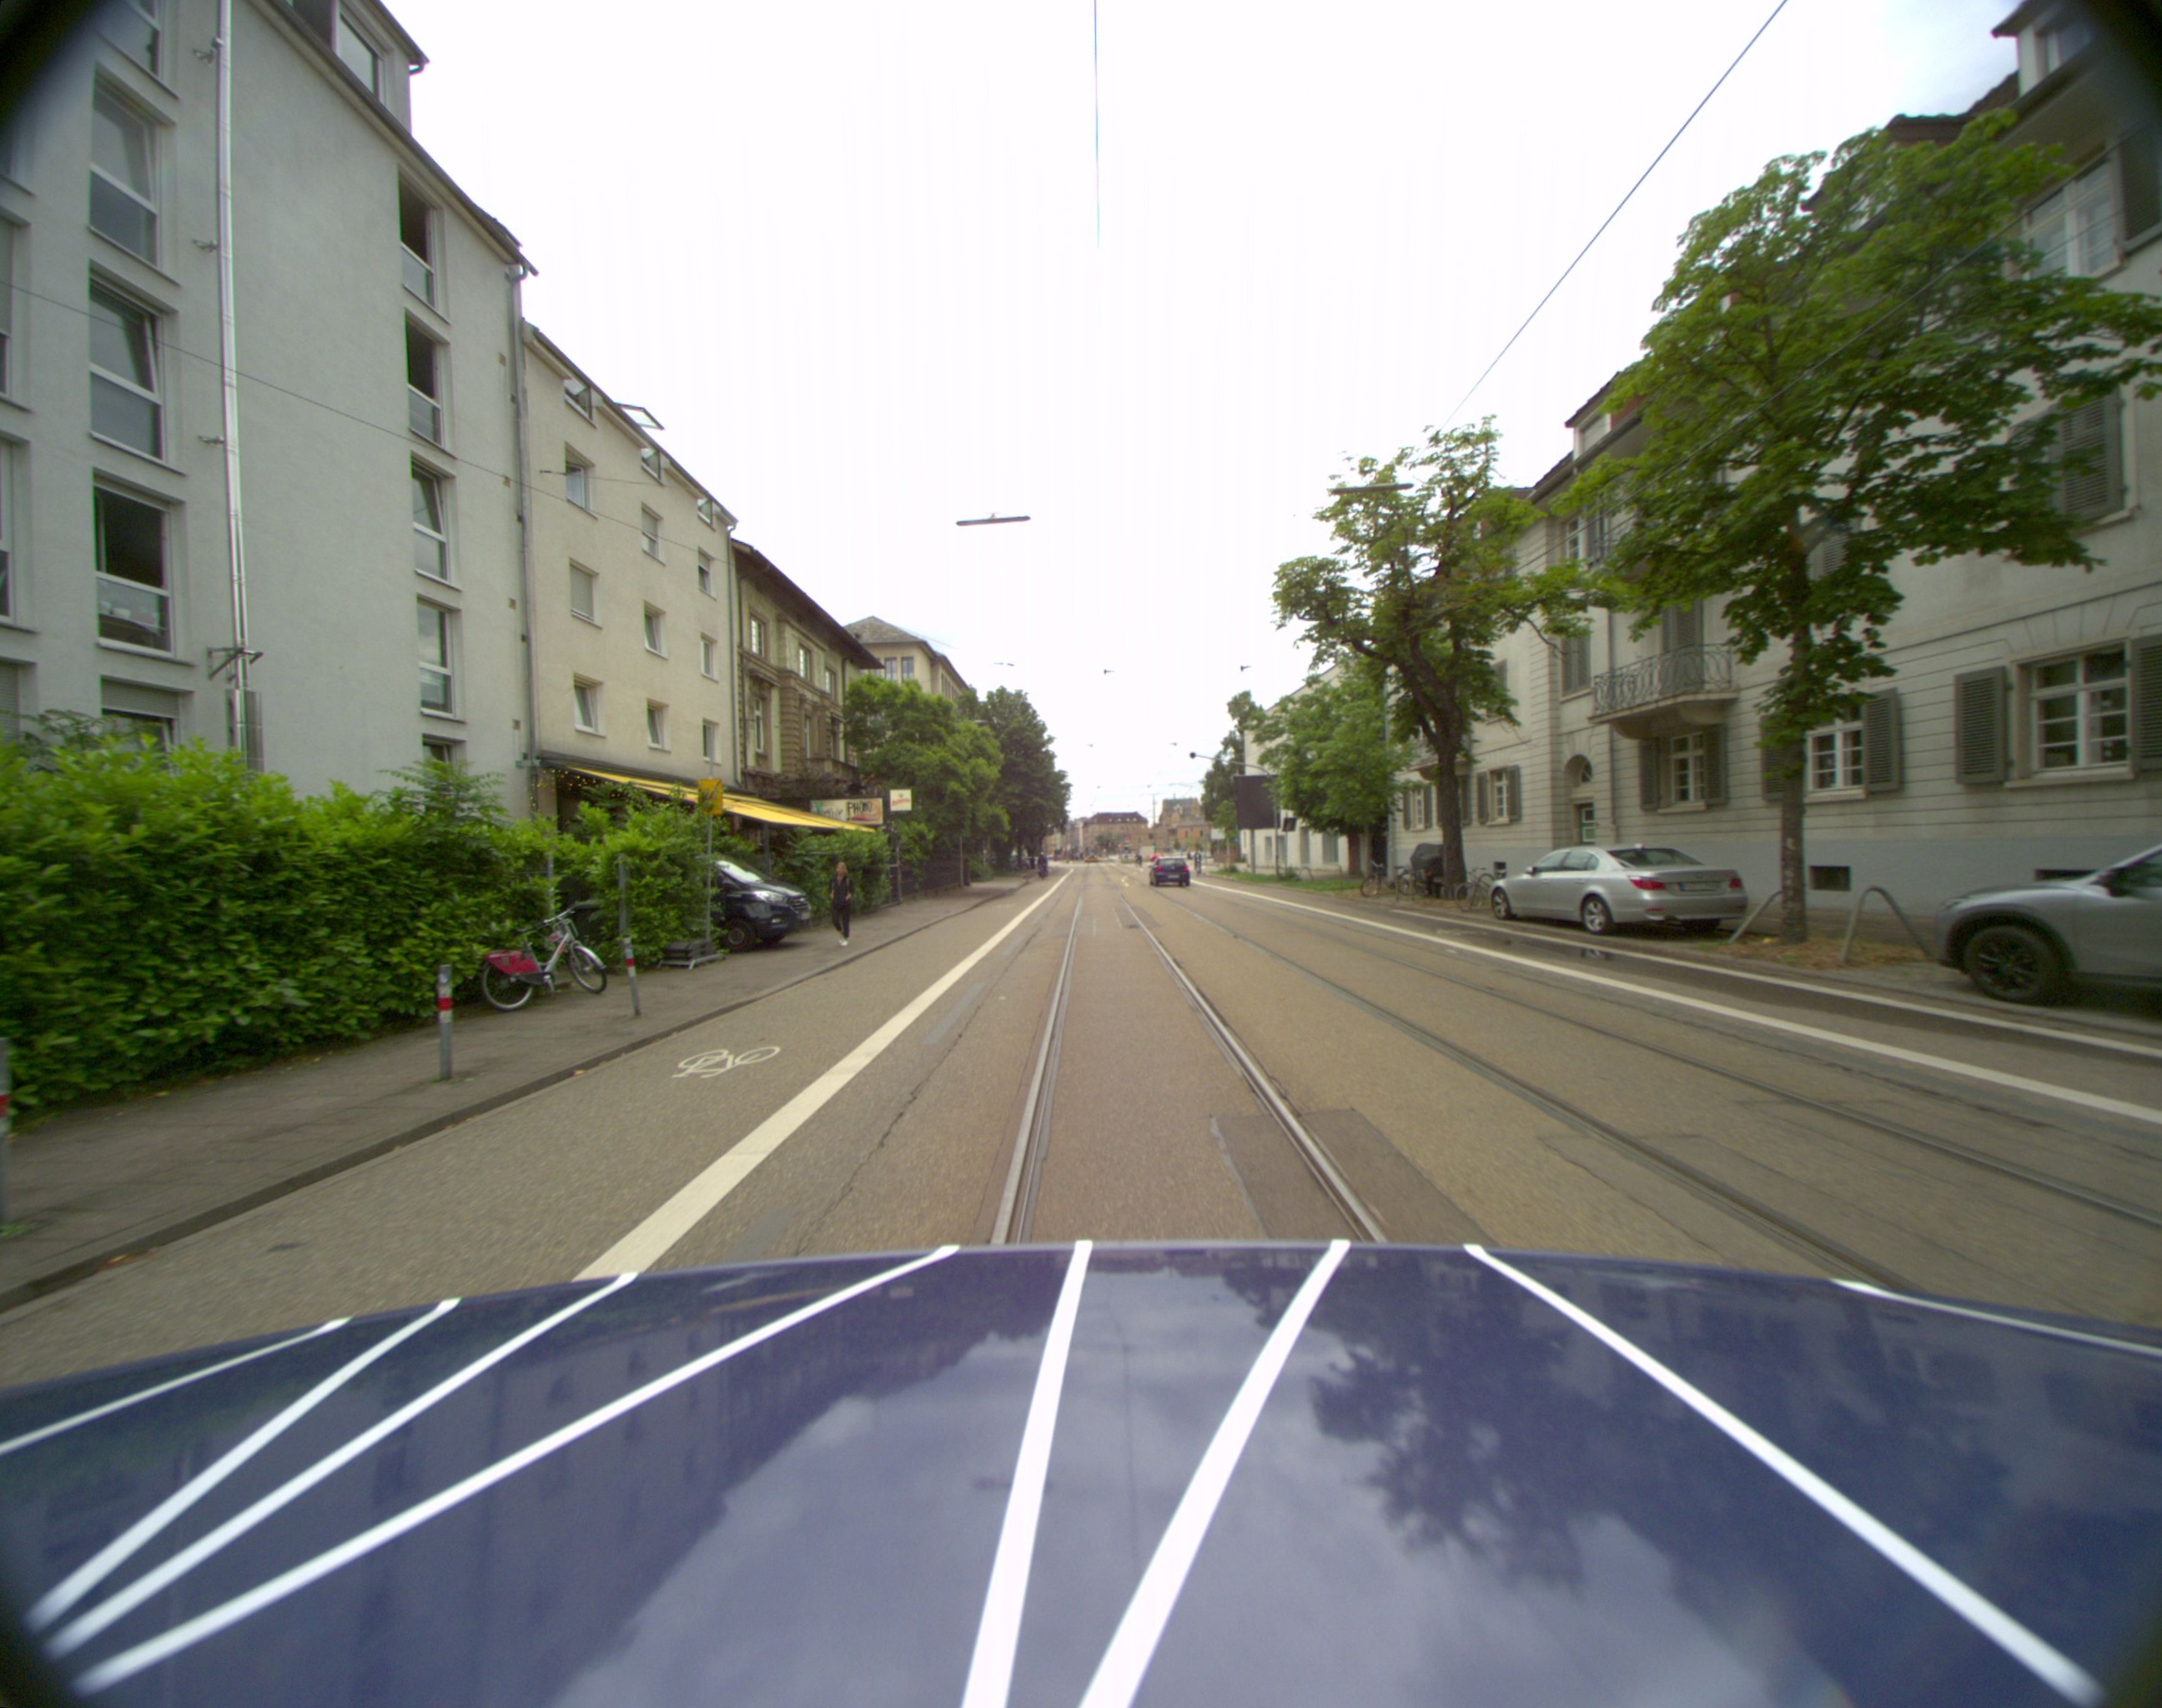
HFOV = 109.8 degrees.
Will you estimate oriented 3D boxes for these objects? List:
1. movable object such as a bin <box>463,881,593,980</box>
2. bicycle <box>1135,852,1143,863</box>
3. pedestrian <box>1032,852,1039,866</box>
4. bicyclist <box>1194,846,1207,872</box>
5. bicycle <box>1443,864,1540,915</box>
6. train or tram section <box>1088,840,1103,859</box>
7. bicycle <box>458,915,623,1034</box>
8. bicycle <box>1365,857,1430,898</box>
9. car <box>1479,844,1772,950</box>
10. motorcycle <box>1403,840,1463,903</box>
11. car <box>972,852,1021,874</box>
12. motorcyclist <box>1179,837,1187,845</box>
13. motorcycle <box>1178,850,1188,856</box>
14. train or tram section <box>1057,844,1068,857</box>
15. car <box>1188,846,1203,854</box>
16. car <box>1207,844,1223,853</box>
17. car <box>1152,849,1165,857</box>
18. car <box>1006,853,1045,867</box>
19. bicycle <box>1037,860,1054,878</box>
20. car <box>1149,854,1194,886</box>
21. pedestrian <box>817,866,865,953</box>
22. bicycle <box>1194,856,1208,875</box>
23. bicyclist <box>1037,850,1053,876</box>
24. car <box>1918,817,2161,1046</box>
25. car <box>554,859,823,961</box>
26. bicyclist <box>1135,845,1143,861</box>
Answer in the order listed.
[{"bbox_3d":[-8.655,1.174,11.950,1.228,1.410,1.019,-2,1,3],"label":"movable object such as a bin"},{"bbox_3d":[6.589,0.391,86.085,0.793,1.179,2.012,1,0,8],"label":"bicycle"},{"bbox_3d":[-5.400,0.588,90.660,0.614,1.740,0.685,-2,1,-13],"label":"pedestrian"},{"bbox_3d":[7.984,0.339,50.725,0.775,1.681,0.869,-2,1,5],"label":"bicyclist"},{"bbox_3d":[9.365,0.800,17.371,1.900,1.021,0.564,-3,1,-3],"label":"bicycle"},{"bbox_3d":[2.844,-0.978,152.639,2.631,3.659,5.984,-2,1,-1],"label":"train or tram section"},{"bbox_3d":[-6.248,1.346,8.922,0.634,1.121,1.812,0,0,0],"label":"bicycle"},{"bbox_3d":[9.568,0.704,23.010,1.744,1.122,0.518,-4,0,19],"label":"bicycle"},{"bbox_3d":[9.116,0.623,13.343,1.816,1.457,4.614,-3,0,0],"label":"car"},{"bbox_3d":[9.677,0.449,20.985,0.834,1.633,2.481,-2,0,9],"label":"motorcycle"},{"bbox_3d":[-7.499,0.809,67.240,3.846,1.810,1.803,-1,0,-30],"label":"car"},{"bbox_3d":[19.642,-2.500,146.423,1.074,1.477,1.253,-2,1,24],"label":"motorcyclist"},{"bbox_3d":[19.652,-0.181,146.271,1.053,1.063,2.652,-2,0,24],"label":"motorcycle"},{"bbox_3d":[-4.527,-0.797,184.006,2.609,2.936,4.965,-2,1,-1],"label":"train or tram section"},{"bbox_3d":[22.095,-0.793,146.788,1.491,1.500,3.476,-1,1,34],"label":"car"},{"bbox_3d":[26.975,-1.132,153.166,1.682,1.641,3.988,-2,1,35],"label":"car"},{"bbox_3d":[13.477,-0.186,131.988,1.758,1.490,4.004,0,1,14],"label":"car"},{"bbox_3d":[-6.768,0.763,91.991,4.330,1.542,1.747,-2,0,-22],"label":"car"},{"bbox_3d":[-2.563,1.079,54.497,0.852,1.234,2.311,-2,-1,6],"label":"bicycle"},{"bbox_3d":[4.354,0.725,36.853,1.733,1.400,3.655,-2,0,1],"label":"car"},{"bbox_3d":[-4.794,1.080,15.225,0.625,1.661,0.960,1,1,0],"label":"pedestrian"},{"bbox_3d":[8.006,0.733,50.839,0.775,1.205,1.869,-2,0,5],"label":"bicycle"},{"bbox_3d":[-2.574,0.621,54.507,0.881,1.811,1.479,-2,-1,6],"label":"bicyclist"},{"bbox_3d":[8.976,0.559,5.166,1.842,1.651,4.293,-4,0,2],"label":"car"},{"bbox_3d":[-7.532,1.040,14.868,4.290,1.798,1.824,-1,0,3],"label":"car"},{"bbox_3d":[6.626,-0.139,86.171,0.793,1.773,1.148,1,1,8],"label":"bicyclist"}]
